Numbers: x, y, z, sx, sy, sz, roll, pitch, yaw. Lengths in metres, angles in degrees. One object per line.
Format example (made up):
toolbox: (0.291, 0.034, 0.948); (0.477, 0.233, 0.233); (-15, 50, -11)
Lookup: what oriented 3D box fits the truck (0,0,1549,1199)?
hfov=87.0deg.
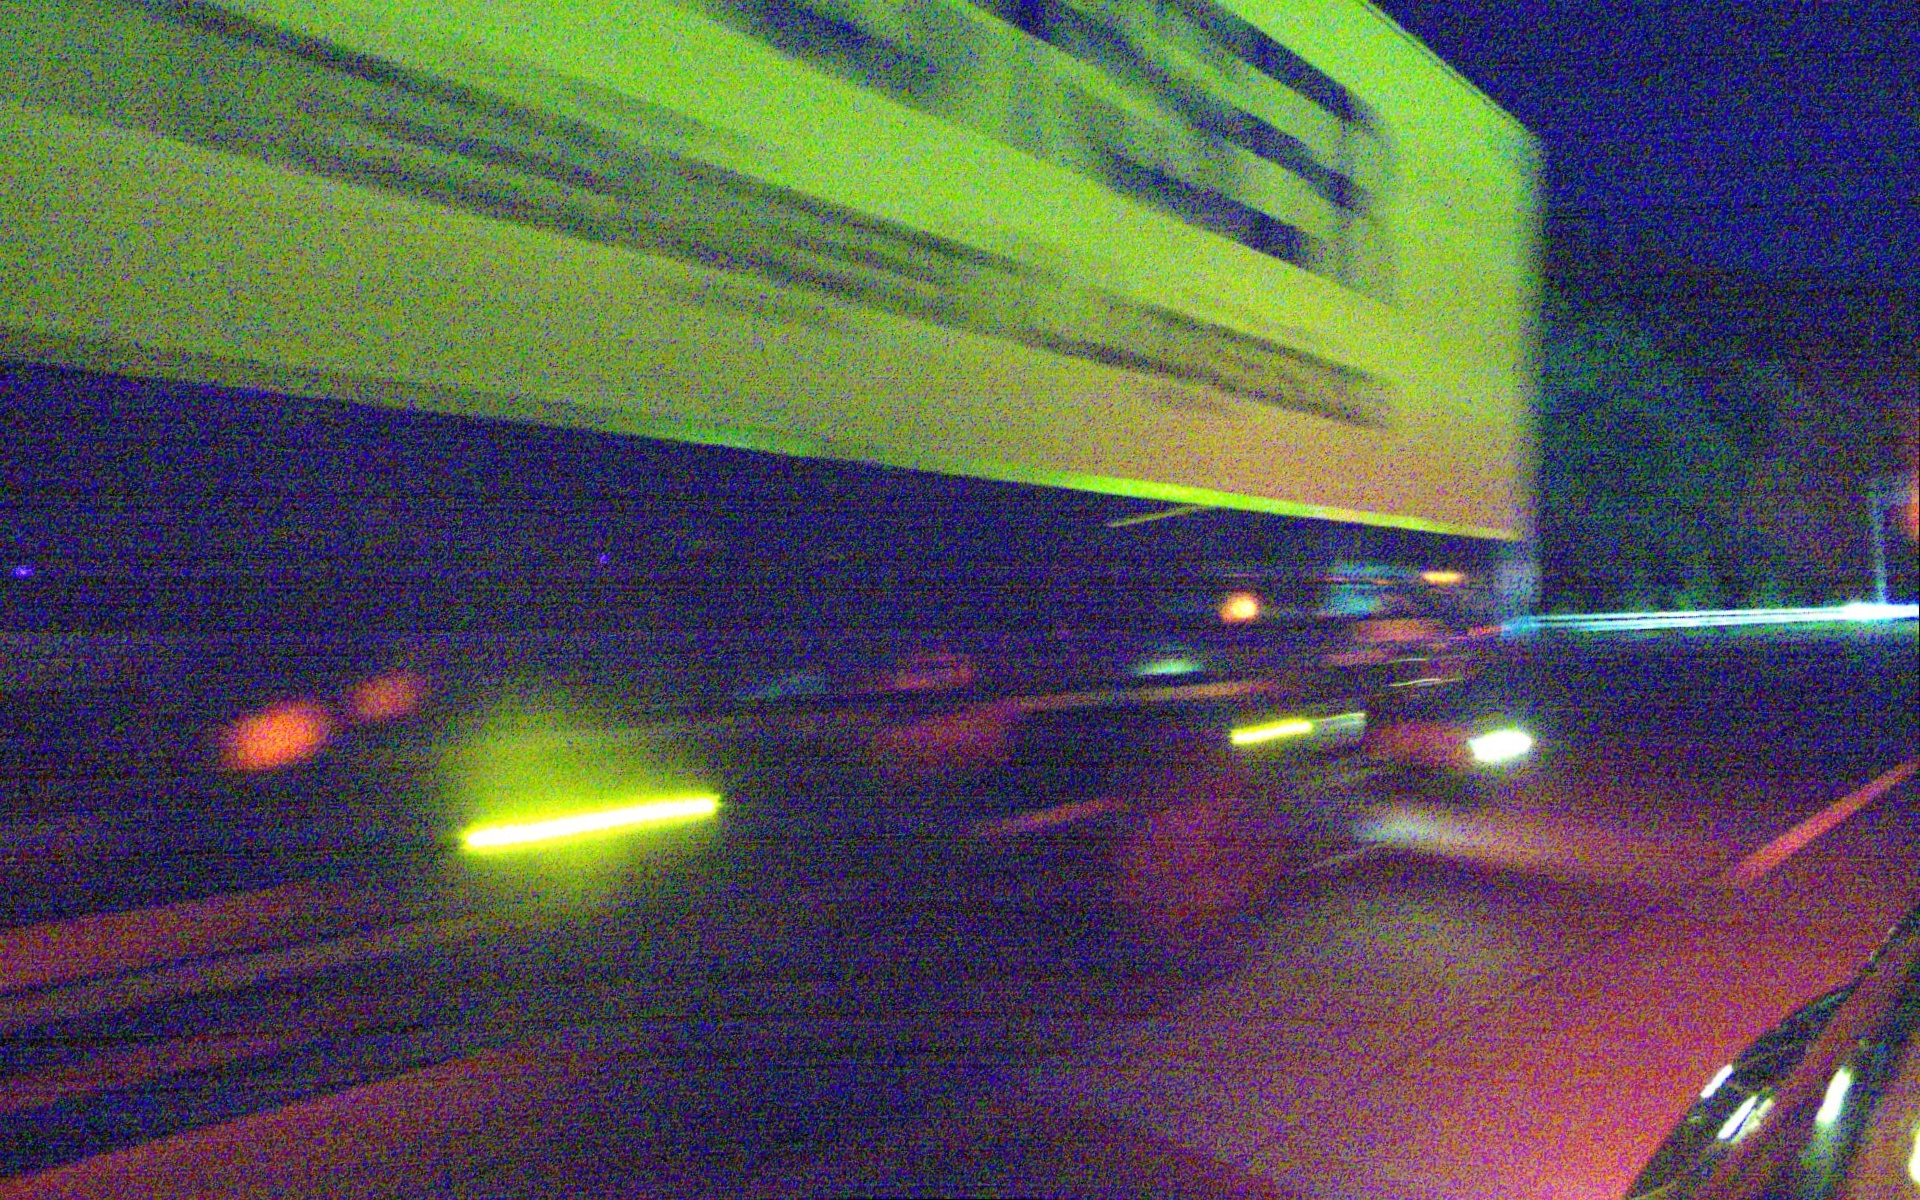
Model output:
truck: (-5.205, -0.691, 0.278); (18.381, 4.188, 3.488); (0, -1, -41)
